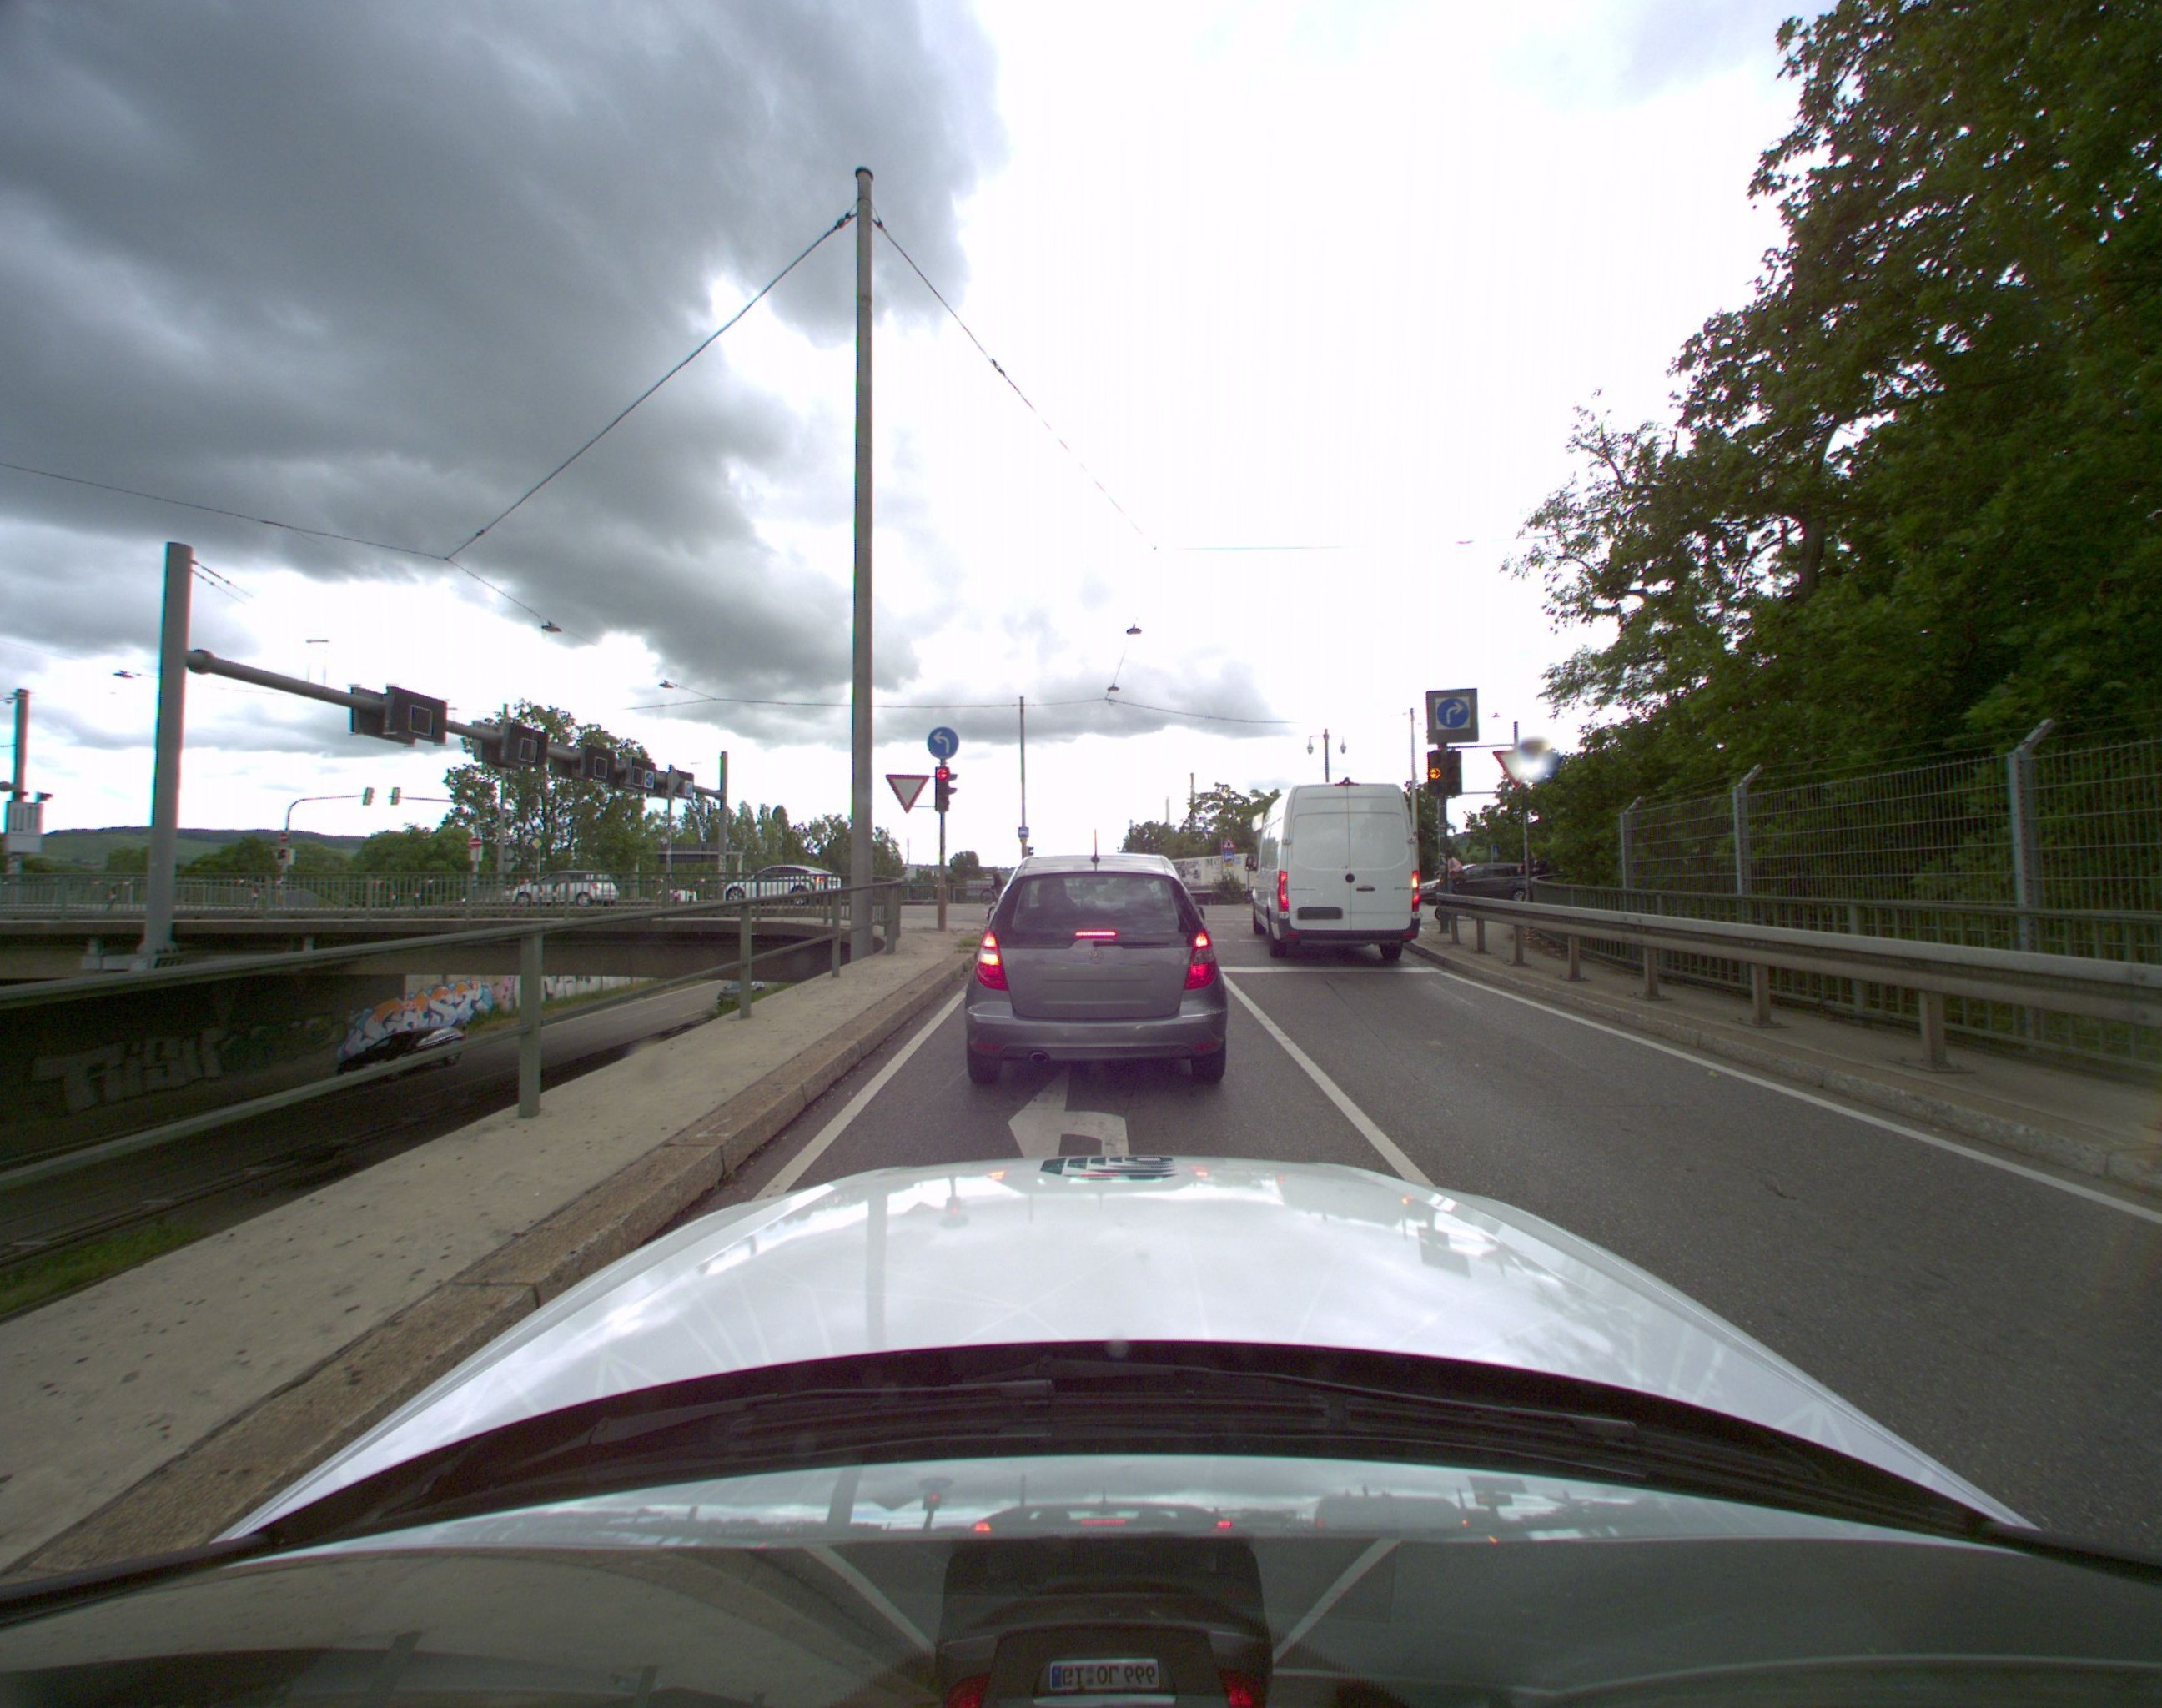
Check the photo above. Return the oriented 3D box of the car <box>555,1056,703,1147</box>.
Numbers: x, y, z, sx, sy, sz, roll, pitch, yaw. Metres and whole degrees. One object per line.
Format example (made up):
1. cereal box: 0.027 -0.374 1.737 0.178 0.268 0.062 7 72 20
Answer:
1. car: -13.118 7.172 23.958 1.742 1.570 4.223 -1 -3 4

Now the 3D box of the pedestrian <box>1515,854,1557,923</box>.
1. pedestrian: 11.102 0.832 19.858 0.774 1.619 0.681 -1 0 38

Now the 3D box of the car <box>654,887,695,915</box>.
1. car: -36.338 4.163 72.887 1.850 2.215 3.660 -1 0 -3

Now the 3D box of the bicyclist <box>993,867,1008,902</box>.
1. bicyclist: -3.984 1.520 40.302 0.653 1.673 0.867 -1 0 -9

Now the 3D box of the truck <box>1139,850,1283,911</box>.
1. truck: 8.045 1.581 52.205 2.810 3.518 10.136 -1 0 -35

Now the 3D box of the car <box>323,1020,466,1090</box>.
1. car: -27.697 8.076 33.089 1.924 1.841 4.410 -2 -3 2

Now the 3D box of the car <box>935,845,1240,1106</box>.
1. car: 0.173 0.733 7.008 1.849 1.588 4.005 -1 1 4

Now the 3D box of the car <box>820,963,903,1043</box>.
1. car: -11.664 7.872 44.007 2.353 3.241 7.657 -1 -3 0

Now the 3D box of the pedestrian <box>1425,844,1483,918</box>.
1. pedestrian: 8.757 0.638 19.146 0.830 1.678 0.978 -1 -3 -1

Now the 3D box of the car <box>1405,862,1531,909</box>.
1. car: 14.753 1.181 31.191 3.969 1.665 1.815 -1 0 4

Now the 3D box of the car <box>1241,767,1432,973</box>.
1. car: 4.133 0.211 14.482 2.098 2.783 6.795 -1 0 8

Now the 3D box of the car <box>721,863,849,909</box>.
1. car: -11.664 1.252 32.218 4.360 1.717 1.945 -1 0 14

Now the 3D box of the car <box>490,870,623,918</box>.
1. car: -20.684 1.550 32.229 3.973 1.717 1.938 -1 0 1

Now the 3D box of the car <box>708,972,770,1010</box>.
1. car: -21.838 8.722 52.215 1.986 1.841 4.424 -3 -3 2

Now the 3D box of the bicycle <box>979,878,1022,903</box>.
1. bicycle: -3.990 1.806 40.288 2.032 1.124 0.926 -1 0 -10
